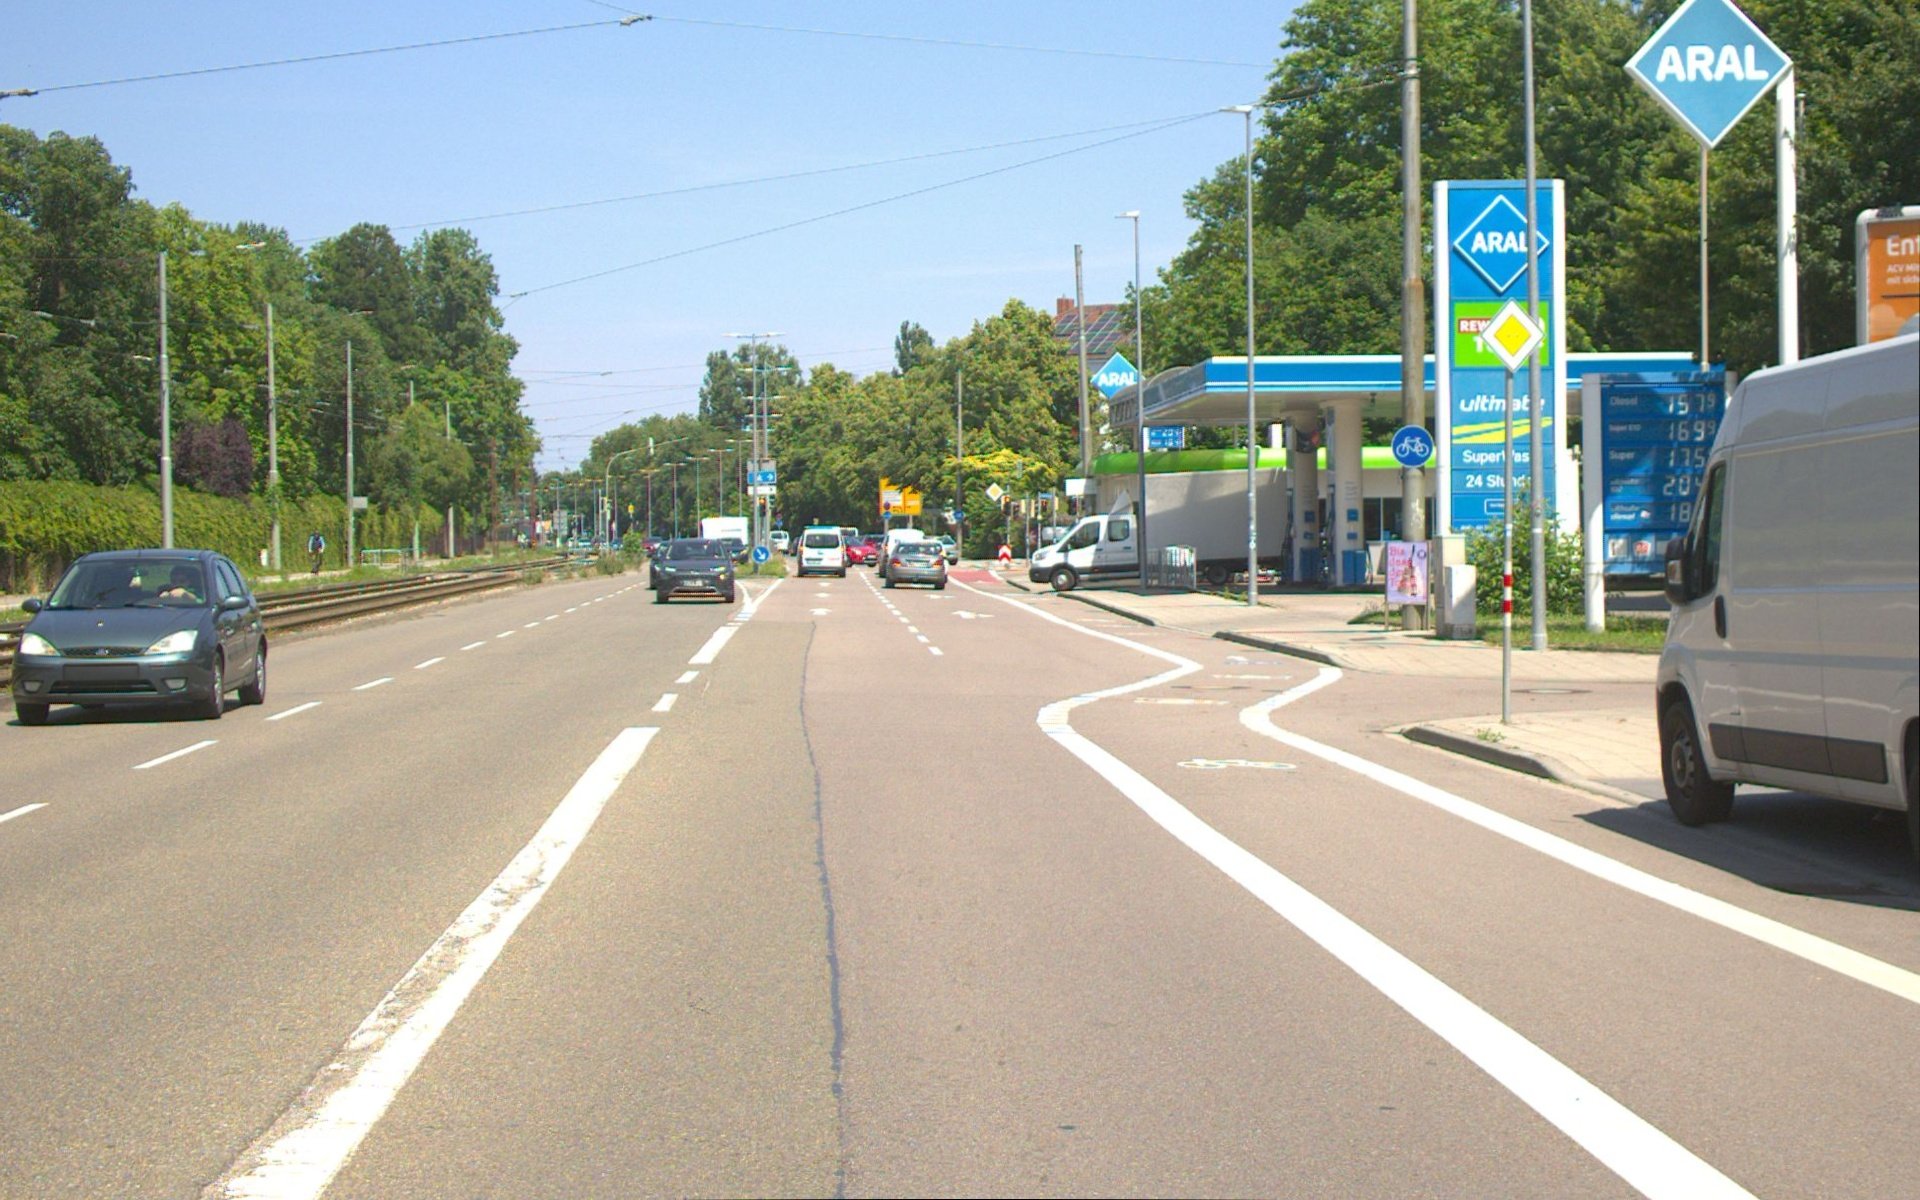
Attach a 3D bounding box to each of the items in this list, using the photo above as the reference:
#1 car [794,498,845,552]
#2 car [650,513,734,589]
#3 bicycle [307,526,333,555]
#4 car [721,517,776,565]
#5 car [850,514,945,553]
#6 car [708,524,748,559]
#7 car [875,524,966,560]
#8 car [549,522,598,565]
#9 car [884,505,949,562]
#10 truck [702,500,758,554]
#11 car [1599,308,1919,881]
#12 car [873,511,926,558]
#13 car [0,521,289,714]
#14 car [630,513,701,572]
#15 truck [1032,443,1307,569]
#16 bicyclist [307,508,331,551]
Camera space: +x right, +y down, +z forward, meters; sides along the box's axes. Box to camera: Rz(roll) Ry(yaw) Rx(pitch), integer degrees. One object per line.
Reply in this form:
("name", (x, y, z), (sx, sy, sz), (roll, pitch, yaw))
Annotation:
("car", (-5.179, -2.758, 126.729), (1.755, 1.868, 4.325), (-3, 2, -3))
("car", (-6.161, -1.161, 79.330), (1.755, 1.625, 4.325), (-3, 2, -3))
("bicycle", (-24.810, -2.310, 133.207), (0.681, 1.050, 2.009), (-5, 1, -4))
("car", (-7.629, -2.145, 124.497), (1.755, 1.625, 4.324), (-3, 2, -1))
("car", (-2.881, -3.057, 158.345), (4.321, 1.653, 1.757), (-1, 2, 44))
("car", (-11.403, -2.890, 169.453), (1.755, 1.625, 4.324), (-3, 2, -2))
("car", (-2.022, -2.993, 177.620), (4.313, 1.625, 1.760), (-2, 2, 18))
("car", (-15.663, -2.301, 139.164), (1.755, 1.625, 4.325), (-3, 2, -8))
("car", (-1.363, -2.074, 106.480), (1.755, 1.625, 4.325), (-3, 2, -3))
("truck", (-11.939, -3.849, 179.372), (2.533, 2.669, 11.819), (0, 2, -2))
("car", (4.938, -0.110, 16.830), (2.001, 2.448, 6.111), (-3, 2, -4))
("car", (-2.260, -2.439, 127.713), (1.755, 1.625, 4.325), (-3, 2, -3))
("car", (-7.214, 0.095, 30.648), (1.755, 1.504, 4.325), (-3, 2, -3))
("car", (-8.628, -1.692, 100.596), (1.755, 1.625, 4.325), (-3, 2, -8))
("truck", (6.194, -2.766, 101.137), (7.969, 3.590, 2.662), (0, 2, 5))
("bicyclist", (-24.846, -2.731, 133.213), (0.681, 1.569, 0.795), (-5, 0, -4))
